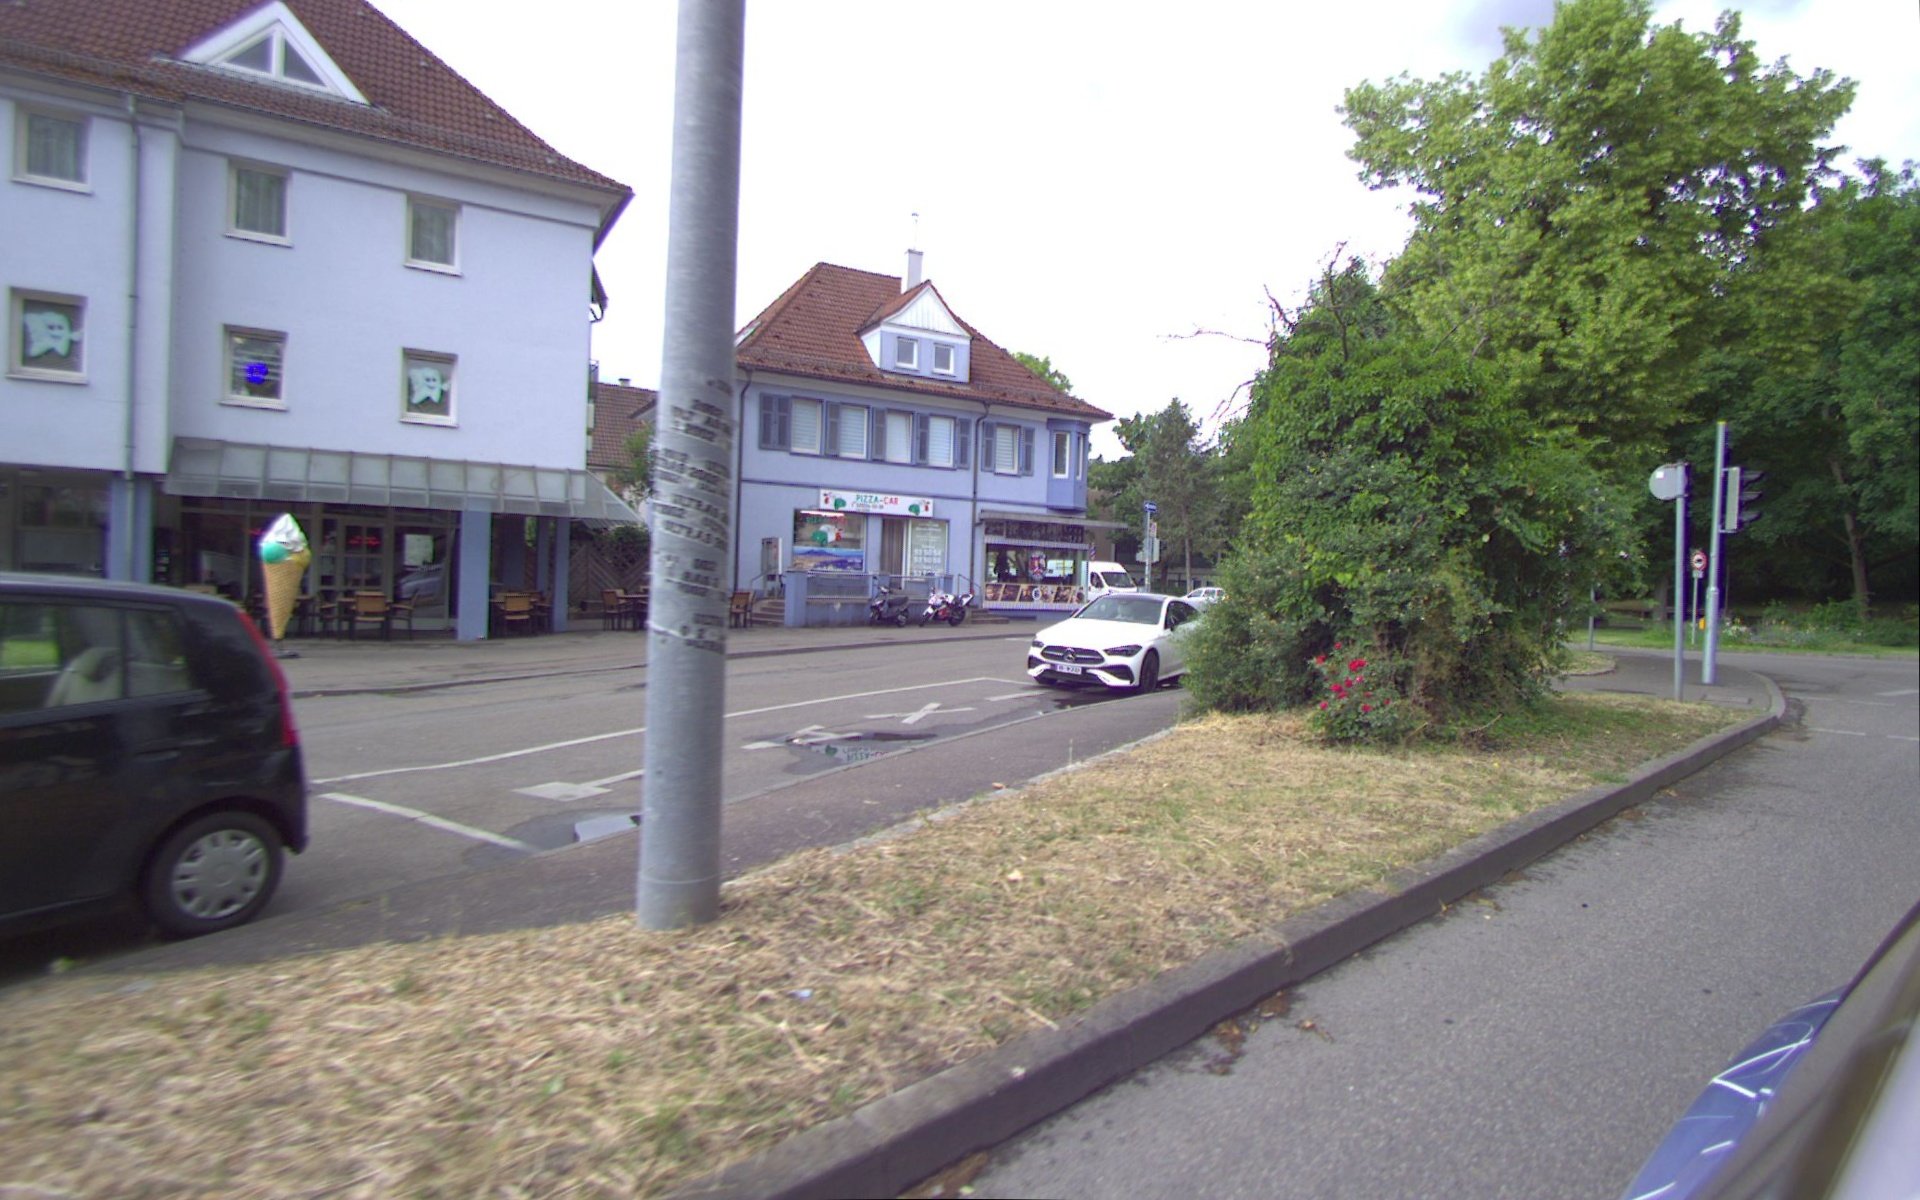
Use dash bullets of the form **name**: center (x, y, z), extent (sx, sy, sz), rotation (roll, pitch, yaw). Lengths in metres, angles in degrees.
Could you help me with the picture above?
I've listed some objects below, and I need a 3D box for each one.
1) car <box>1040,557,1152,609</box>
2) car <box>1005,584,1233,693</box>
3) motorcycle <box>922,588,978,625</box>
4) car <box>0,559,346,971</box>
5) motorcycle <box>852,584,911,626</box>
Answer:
- **car**: center (6.620, -0.895, 50.138), extent (2.289, 2.421, 5.966), rotation (1, 2, -30)
- **car**: center (2.722, 0.480, 16.288), extent (1.984, 1.403, 4.736), rotation (3, 2, 31)
- **motorcycle**: center (-0.264, 0.164, 28.260), extent (0.519, 0.998, 1.797), rotation (2, 2, 39)
- **car**: center (-4.260, 0.548, 3.385), extent (1.559, 1.422, 3.460), rotation (2, 1, 28)
- **motorcycle**: center (-2.063, 0.122, 26.698), extent (0.487, 1.044, 1.700), rotation (3, 2, 39)
